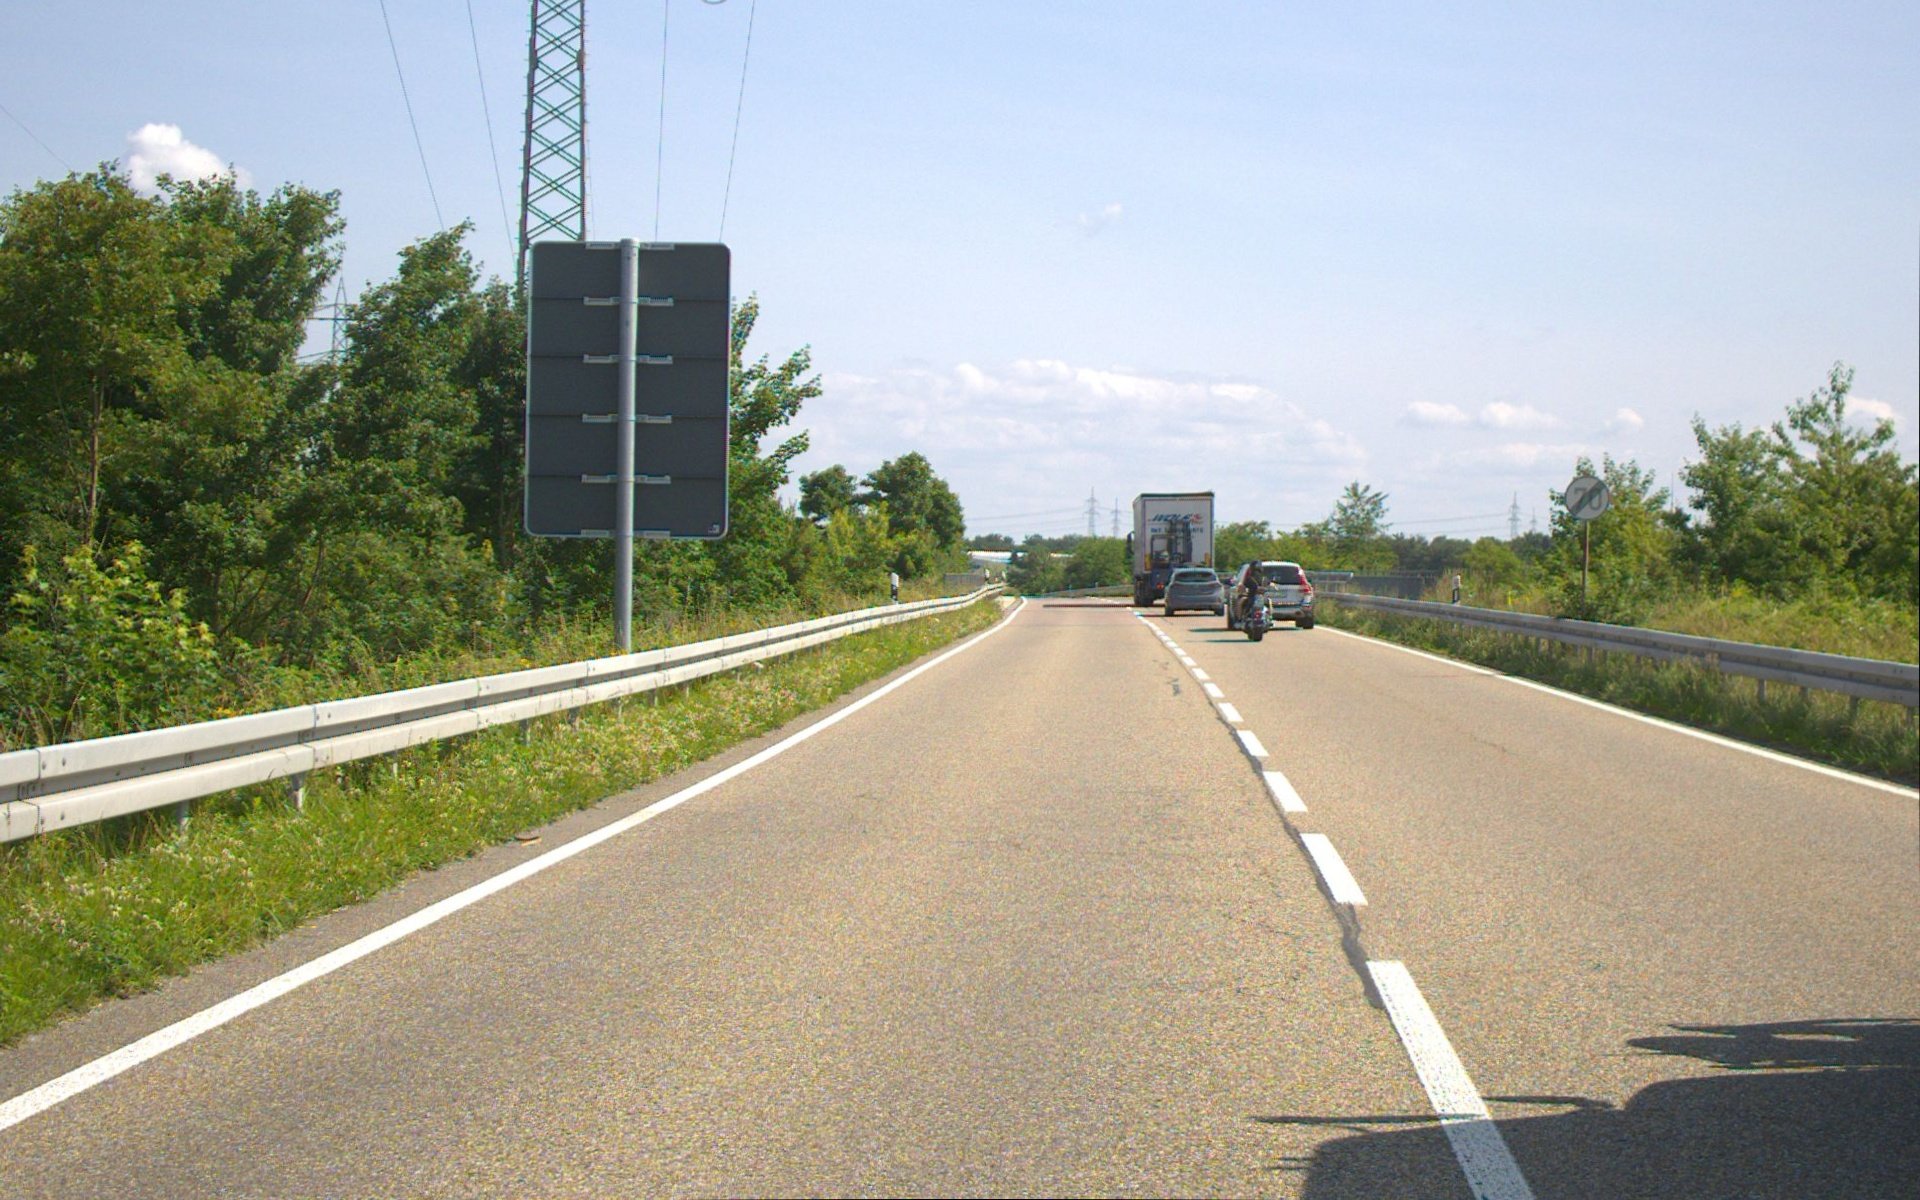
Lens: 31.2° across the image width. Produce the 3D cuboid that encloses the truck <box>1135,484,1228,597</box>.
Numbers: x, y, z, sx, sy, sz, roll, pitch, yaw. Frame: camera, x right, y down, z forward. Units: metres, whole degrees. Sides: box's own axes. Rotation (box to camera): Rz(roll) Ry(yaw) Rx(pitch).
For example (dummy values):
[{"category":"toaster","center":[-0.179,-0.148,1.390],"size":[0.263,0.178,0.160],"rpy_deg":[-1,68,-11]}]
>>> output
[{"category":"truck","center":[8.068,-2.126,125.861],"size":[3.242,3.965,9.442],"rpy_deg":[0,0,3]}]

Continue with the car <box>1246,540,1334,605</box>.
[{"category":"car","center":[7.562,-0.648,79.141],"size":[1.825,1.446,4.000],"rpy_deg":[0,1,3]}]

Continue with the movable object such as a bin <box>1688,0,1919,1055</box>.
[{"category":"movable object such as a bin","center":[4.209,-0.541,9.440],"size":[2.753,3.826,9.445],"rpy_deg":[0,1,2]}]

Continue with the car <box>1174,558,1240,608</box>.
[{"category":"car","center":[7.367,-0.518,102.735],"size":[1.866,1.415,4.000],"rpy_deg":[1,1,3]}]

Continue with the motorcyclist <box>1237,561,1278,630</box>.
[{"category":"motorcyclist","center":[5.786,-0.087,66.912],"size":[0.780,1.321,0.813],"rpy_deg":[0,1,3]}]

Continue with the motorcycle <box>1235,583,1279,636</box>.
[{"category":"motorcycle","center":[5.773,0.181,66.896],"size":[0.780,0.972,2.361],"rpy_deg":[0,1,3]}]
